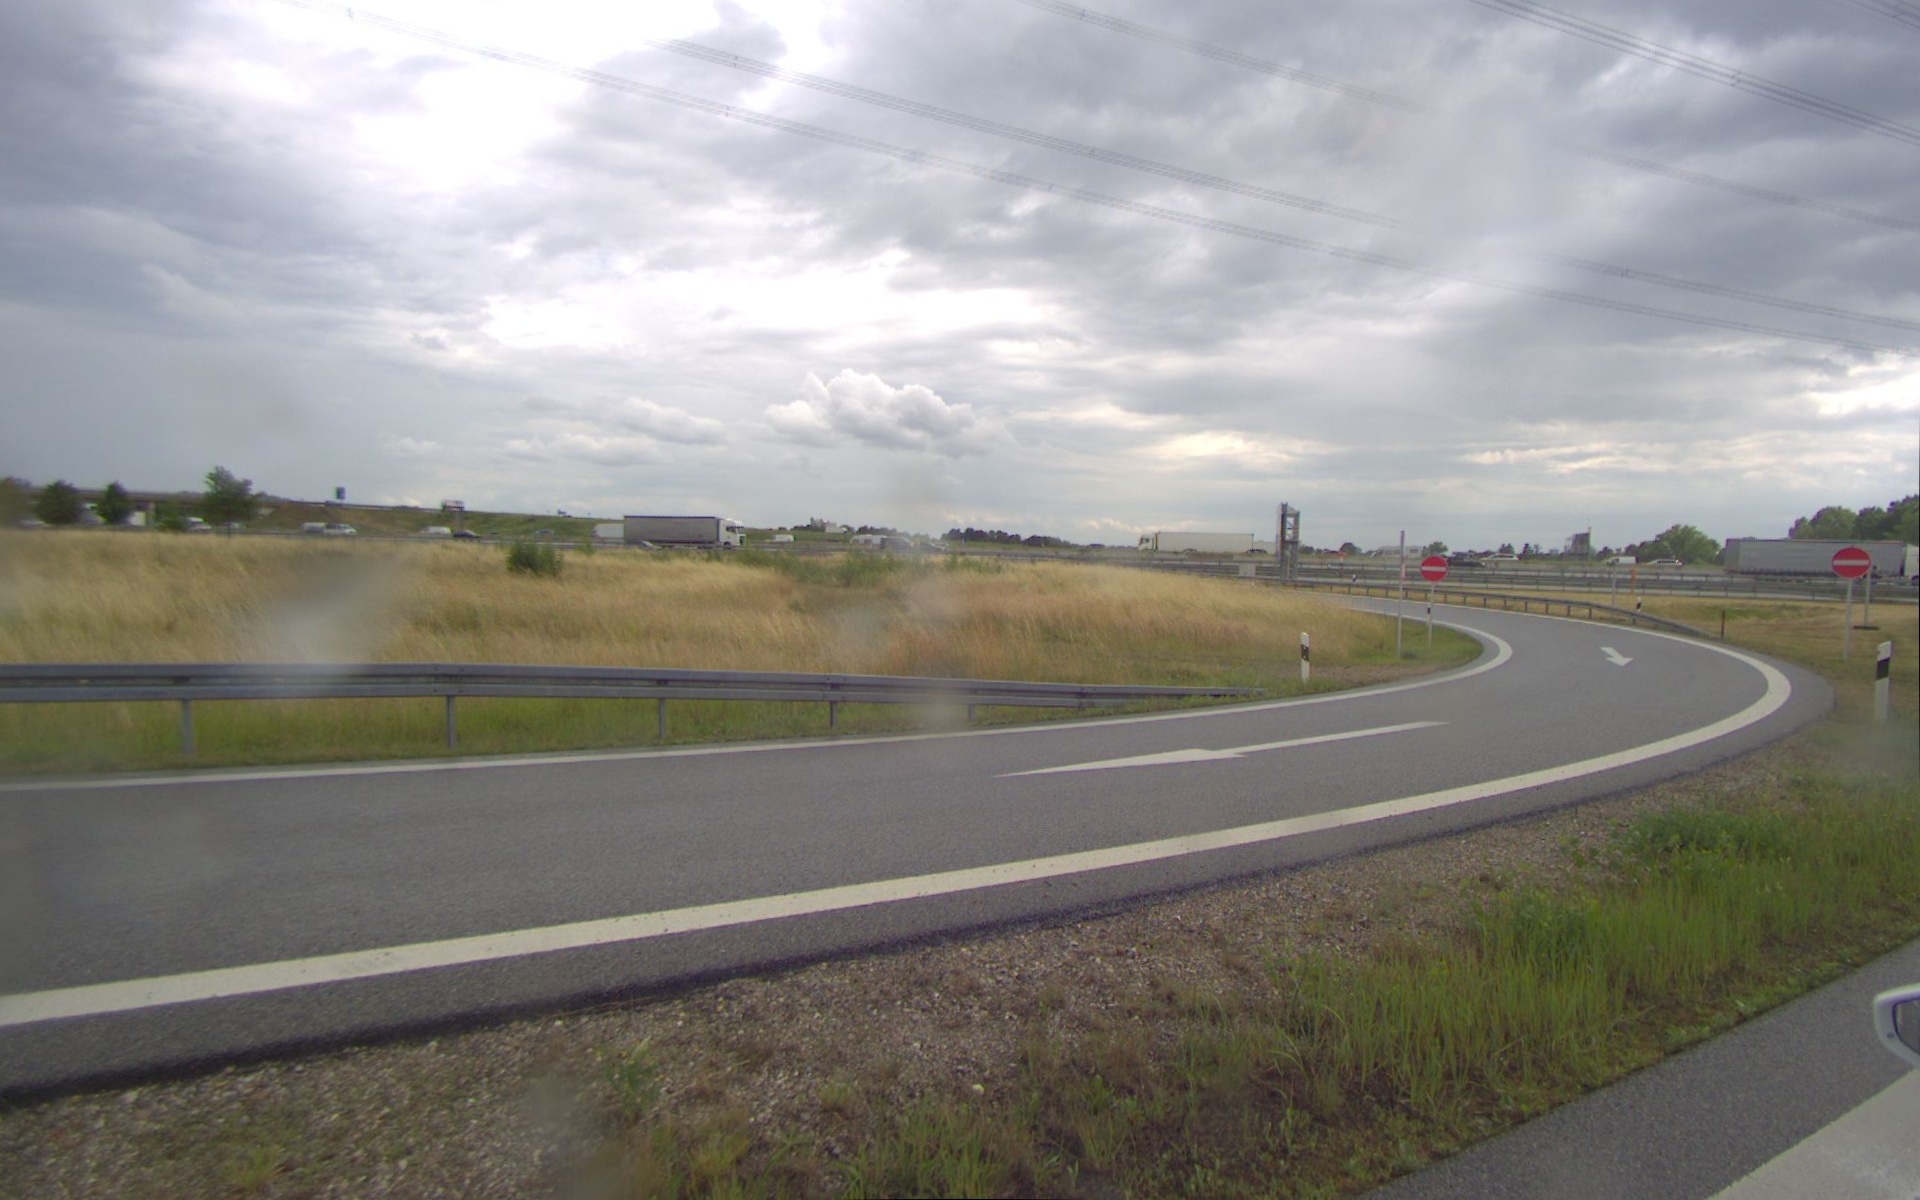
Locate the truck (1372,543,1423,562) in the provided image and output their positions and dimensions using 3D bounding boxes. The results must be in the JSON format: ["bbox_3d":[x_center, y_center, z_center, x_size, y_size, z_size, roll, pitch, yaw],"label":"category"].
[{"bbox_3d":[60.479,-6.540,138.906,6.182,2.534,2.000,1,3,15],"label":"truck"}]

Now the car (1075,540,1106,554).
[{"bbox_3d":[17.750,-7.204,136.725,3.920,1.874,1.892,1,3,18],"label":"car"}]

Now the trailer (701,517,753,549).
[{"bbox_3d":[-29.576,-8.503,127.384,5.779,3.835,2.849,2,4,15],"label":"trailer"}]

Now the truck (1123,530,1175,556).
[{"bbox_3d":[27.826,-8.356,147.687,7.231,3.589,2.825,2,4,15],"label":"truck"}]

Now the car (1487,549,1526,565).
[{"bbox_3d":[67.576,-5.304,124.184,3.920,1.874,1.892,1,3,18],"label":"car"}]

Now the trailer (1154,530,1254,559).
[{"bbox_3d":[35.305,-8.020,145.634,13.817,3.721,2.859,3,4,15],"label":"trailer"}]

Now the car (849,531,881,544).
[{"bbox_3d":[-15.001,-9.838,158.933,4.660,2.041,2.000,1,3,16],"label":"car"}]

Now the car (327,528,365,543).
[{"bbox_3d":[-89.994,-9.480,147.345,4.679,1.958,2.001,2,3,13],"label":"car"}]

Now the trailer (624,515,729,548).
[{"bbox_3d":[-36.484,-8.784,129.187,13.384,3.834,2.859,3,4,14],"label":"trailer"}]

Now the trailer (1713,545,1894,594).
[{"bbox_3d":[82.720,-3.052,98.867,13.124,4.680,3.483,1,3,17],"label":"trailer"}]

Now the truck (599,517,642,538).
[{"bbox_3d":[-57.526,-12.220,170.215,6.965,3.518,2.000,1,3,16],"label":"truck"}]

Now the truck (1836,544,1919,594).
[{"bbox_3d":[89.219,-3.025,96.850,6.143,4.628,3.350,1,3,17],"label":"truck"}]

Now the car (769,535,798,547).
[{"bbox_3d":[-26.368,-8.822,150.063,3.920,1.874,1.892,1,3,18],"label":"car"}]

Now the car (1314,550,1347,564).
[{"bbox_3d":[49.004,-5.683,132.854,3.920,1.874,1.892,1,3,18],"label":"car"}]
